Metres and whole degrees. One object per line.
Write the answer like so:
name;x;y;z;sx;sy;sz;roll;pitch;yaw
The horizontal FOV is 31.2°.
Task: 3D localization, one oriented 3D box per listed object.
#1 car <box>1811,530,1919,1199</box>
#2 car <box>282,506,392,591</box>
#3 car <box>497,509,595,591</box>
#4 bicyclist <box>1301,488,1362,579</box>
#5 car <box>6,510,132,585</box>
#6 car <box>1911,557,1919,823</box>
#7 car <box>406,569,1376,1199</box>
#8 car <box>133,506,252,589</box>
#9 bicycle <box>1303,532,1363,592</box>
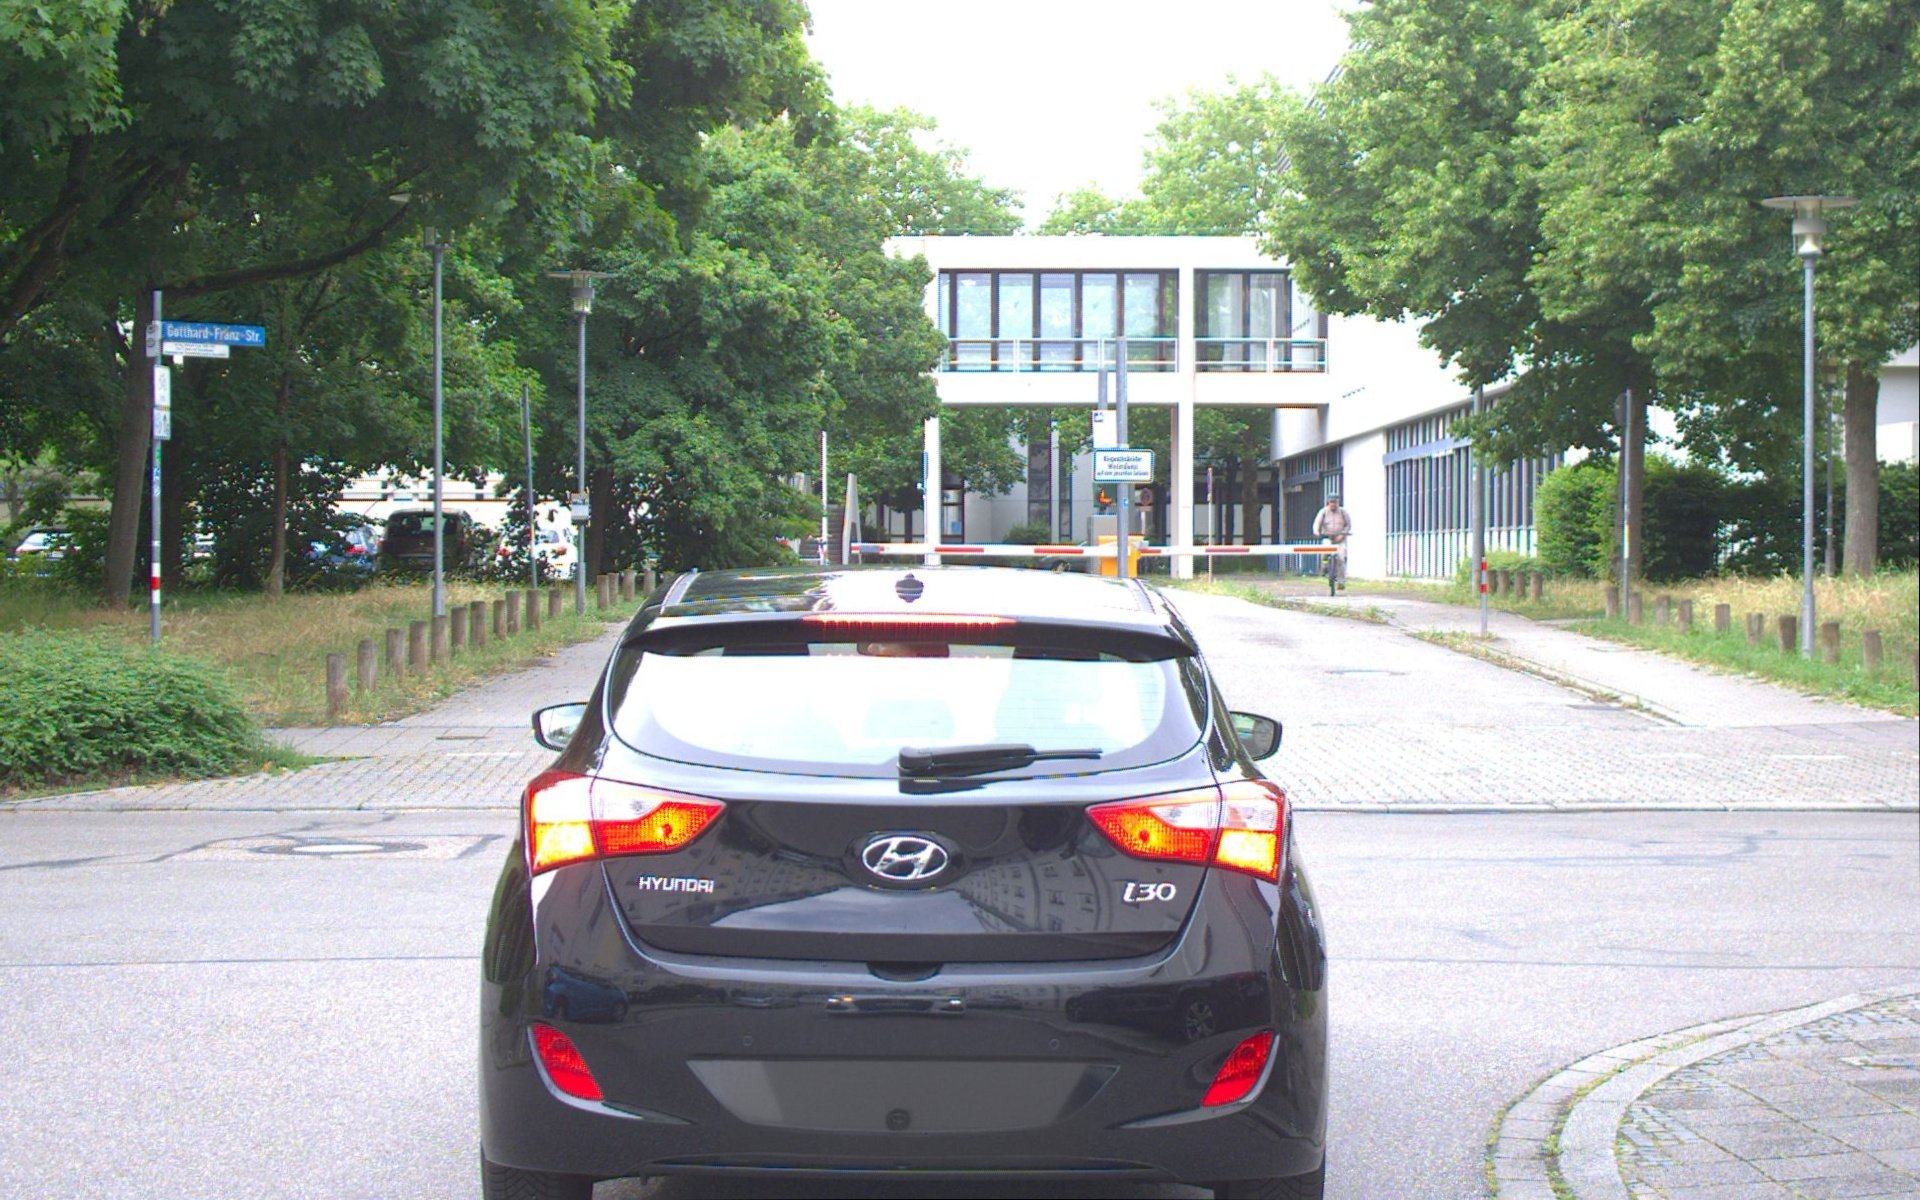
car;2.612;0.636;4.003;1.860;1.457;4.726;-1;1;-3
car;-13.684;-1.111;75.698;1.993;1.788;4.000;0;-1;-5
car;-9.089;-1.073;75.775;1.993;1.756;4.001;0;0;-5
bicyclist;6.755;-1.211;62.512;1.017;1.639;0.923;0;1;0
car;-19.509;-1.154;75.418;1.993;1.612;4.001;0;1;-5
car;7.351;0.514;18.152;4.103;1.457;1.871;0;1;-2
car;-0.226;0.665;8.480;1.846;1.457;3.828;0;1;-3
car;-16.787;-1.134;75.358;1.993;1.722;4.000;0;-1;-5
bicycle;6.784;-0.701;62.638;0.866;1.071;2.142;0;2;0
